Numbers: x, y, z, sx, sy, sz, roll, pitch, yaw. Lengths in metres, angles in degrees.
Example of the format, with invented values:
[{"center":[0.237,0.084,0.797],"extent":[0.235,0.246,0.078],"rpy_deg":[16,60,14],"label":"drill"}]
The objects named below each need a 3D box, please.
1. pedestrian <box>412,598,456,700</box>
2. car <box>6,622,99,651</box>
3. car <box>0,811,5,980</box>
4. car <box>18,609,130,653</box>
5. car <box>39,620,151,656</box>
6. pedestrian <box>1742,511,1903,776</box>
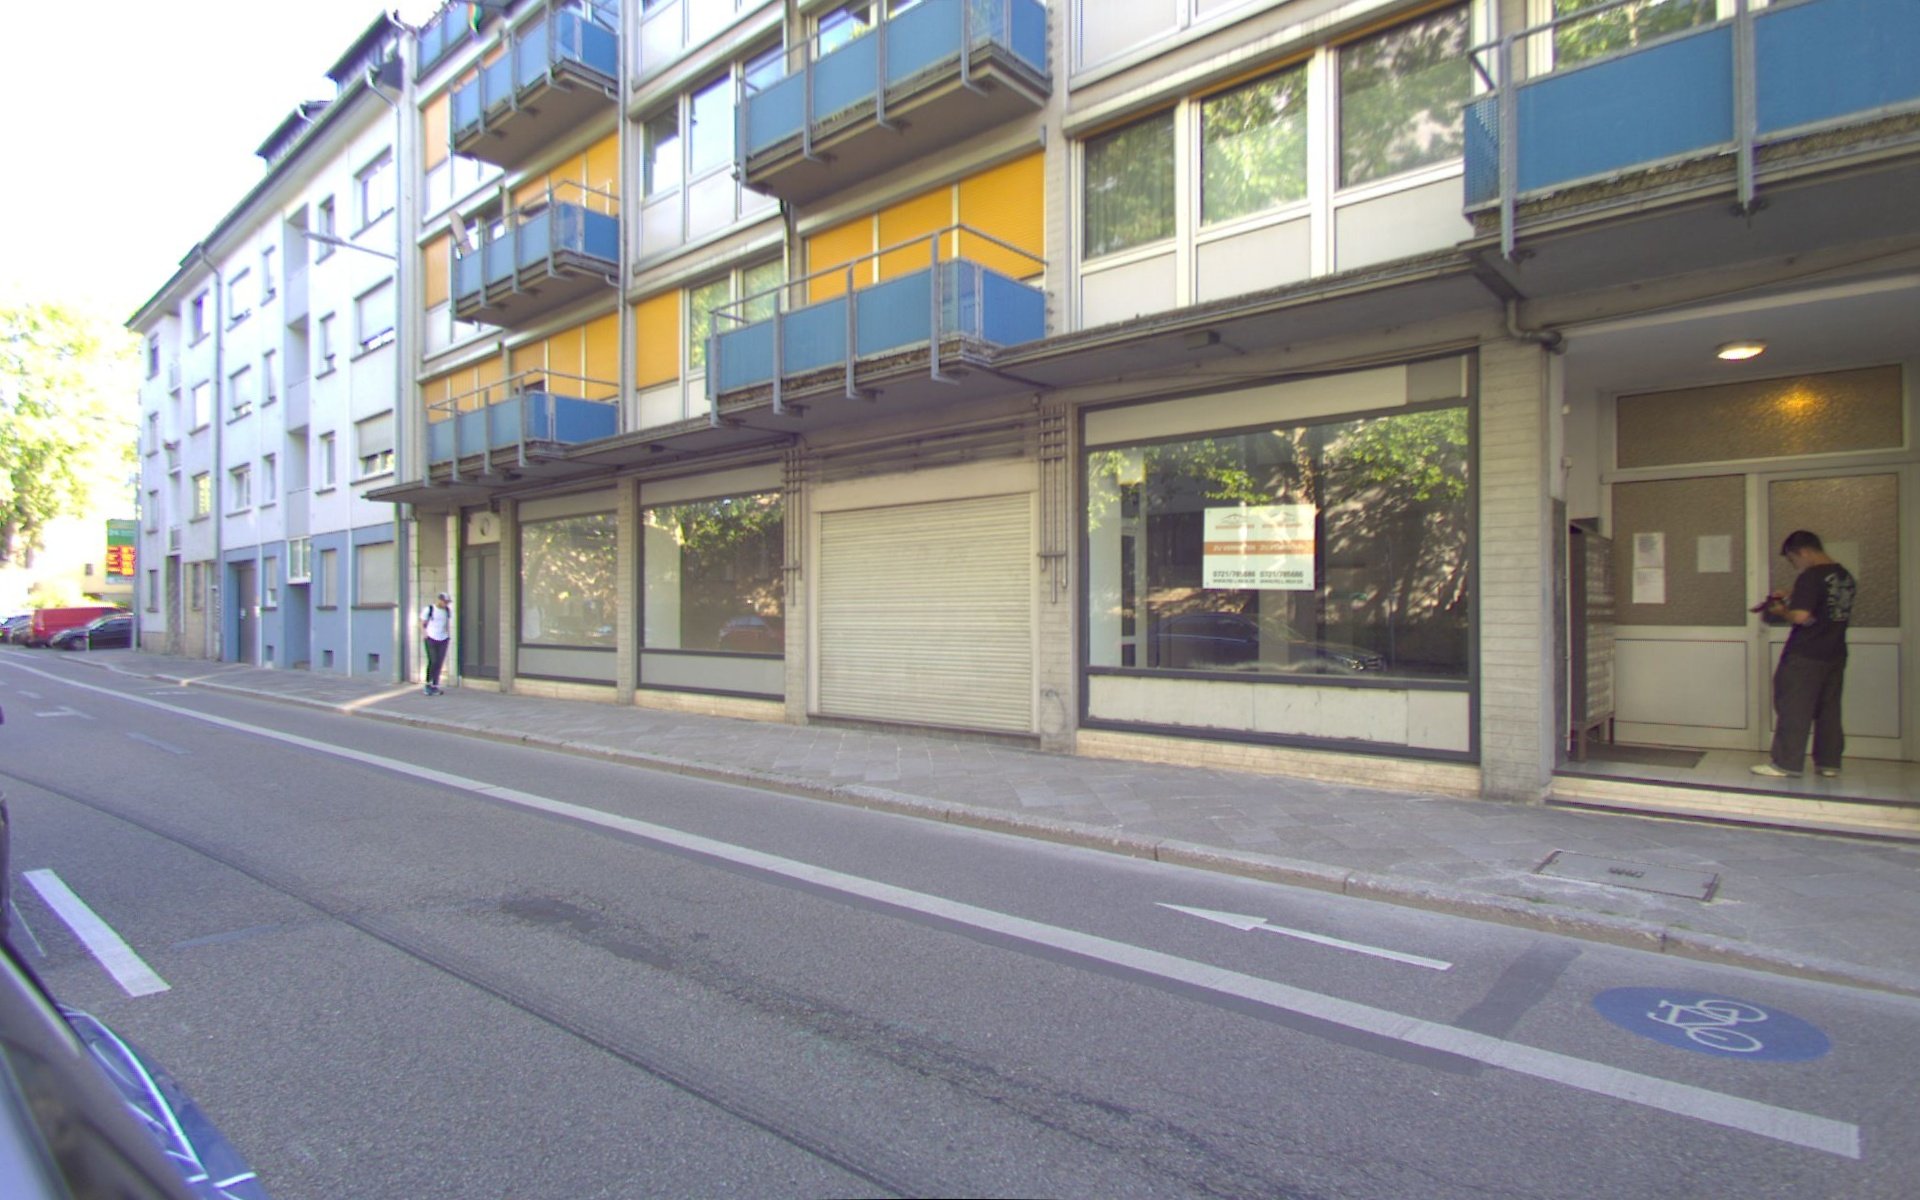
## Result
[{"center":[-9.244,0.847,17.800],"extent":[0.343,1.739,0.562],"rpy_deg":[-1,0,41],"label":"pedestrian"},{"center":[-45.221,1.787,50.467],"extent":[1.294,1.258,3.283],"rpy_deg":[-1,0,40],"label":"car"},{"center":[-5.799,0.764,4.549],"extent":[4.123,1.475,1.781],"rpy_deg":[-1,0,41],"label":"car"},{"center":[-42.974,1.468,49.124],"extent":[1.635,1.937,3.878],"rpy_deg":[-1,0,40],"label":"car"},{"center":[-38.973,1.687,45.646],"extent":[1.635,1.422,3.623],"rpy_deg":[-1,0,40],"label":"car"},{"center":[5.942,0.295,7.005],"extent":[0.623,1.754,0.526],"rpy_deg":[-1,-1,8],"label":"pedestrian"}]
